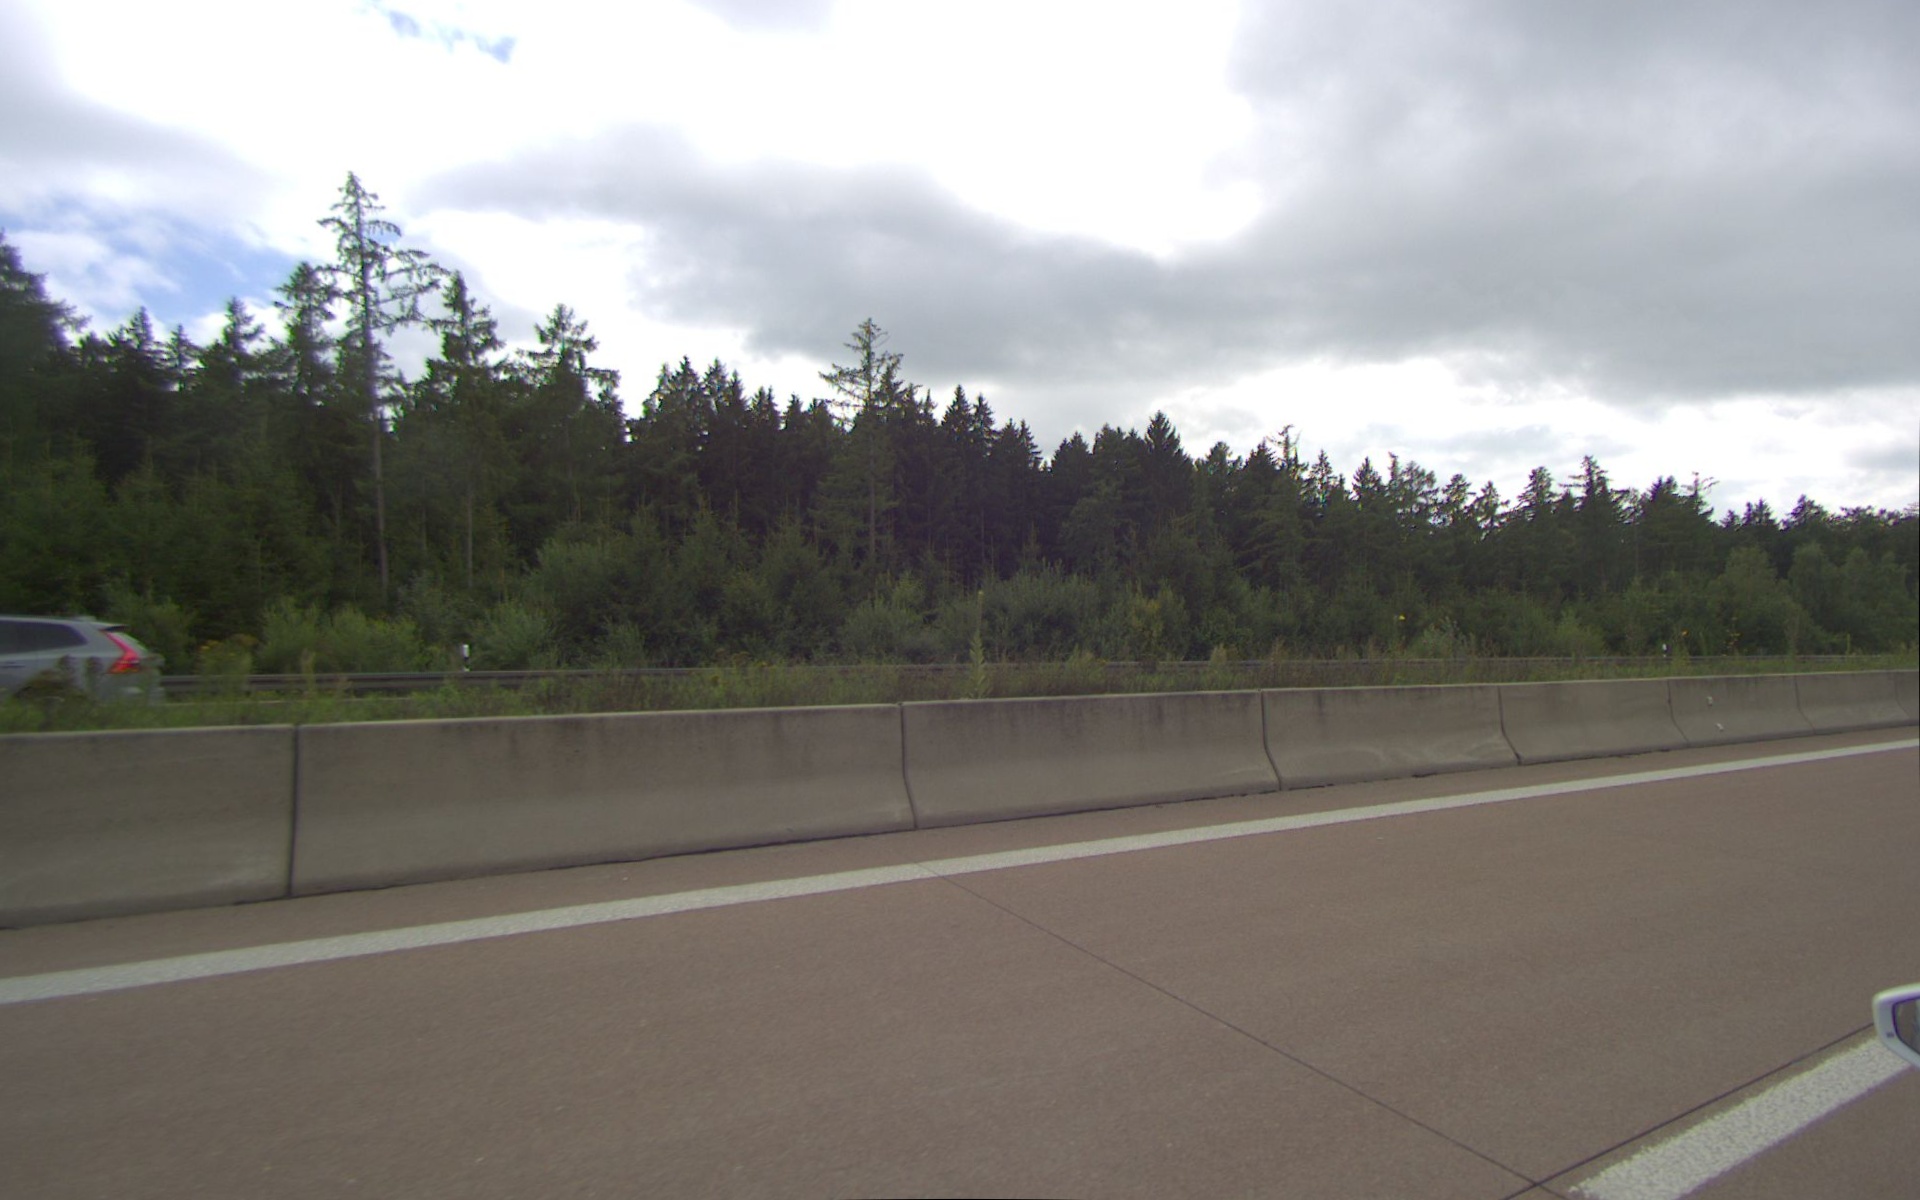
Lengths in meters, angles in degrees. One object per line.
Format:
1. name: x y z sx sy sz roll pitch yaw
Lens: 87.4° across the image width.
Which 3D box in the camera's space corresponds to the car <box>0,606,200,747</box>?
1. car: -12.769 0.933 12.655 4.829 1.703 1.984 1 -2 -30
